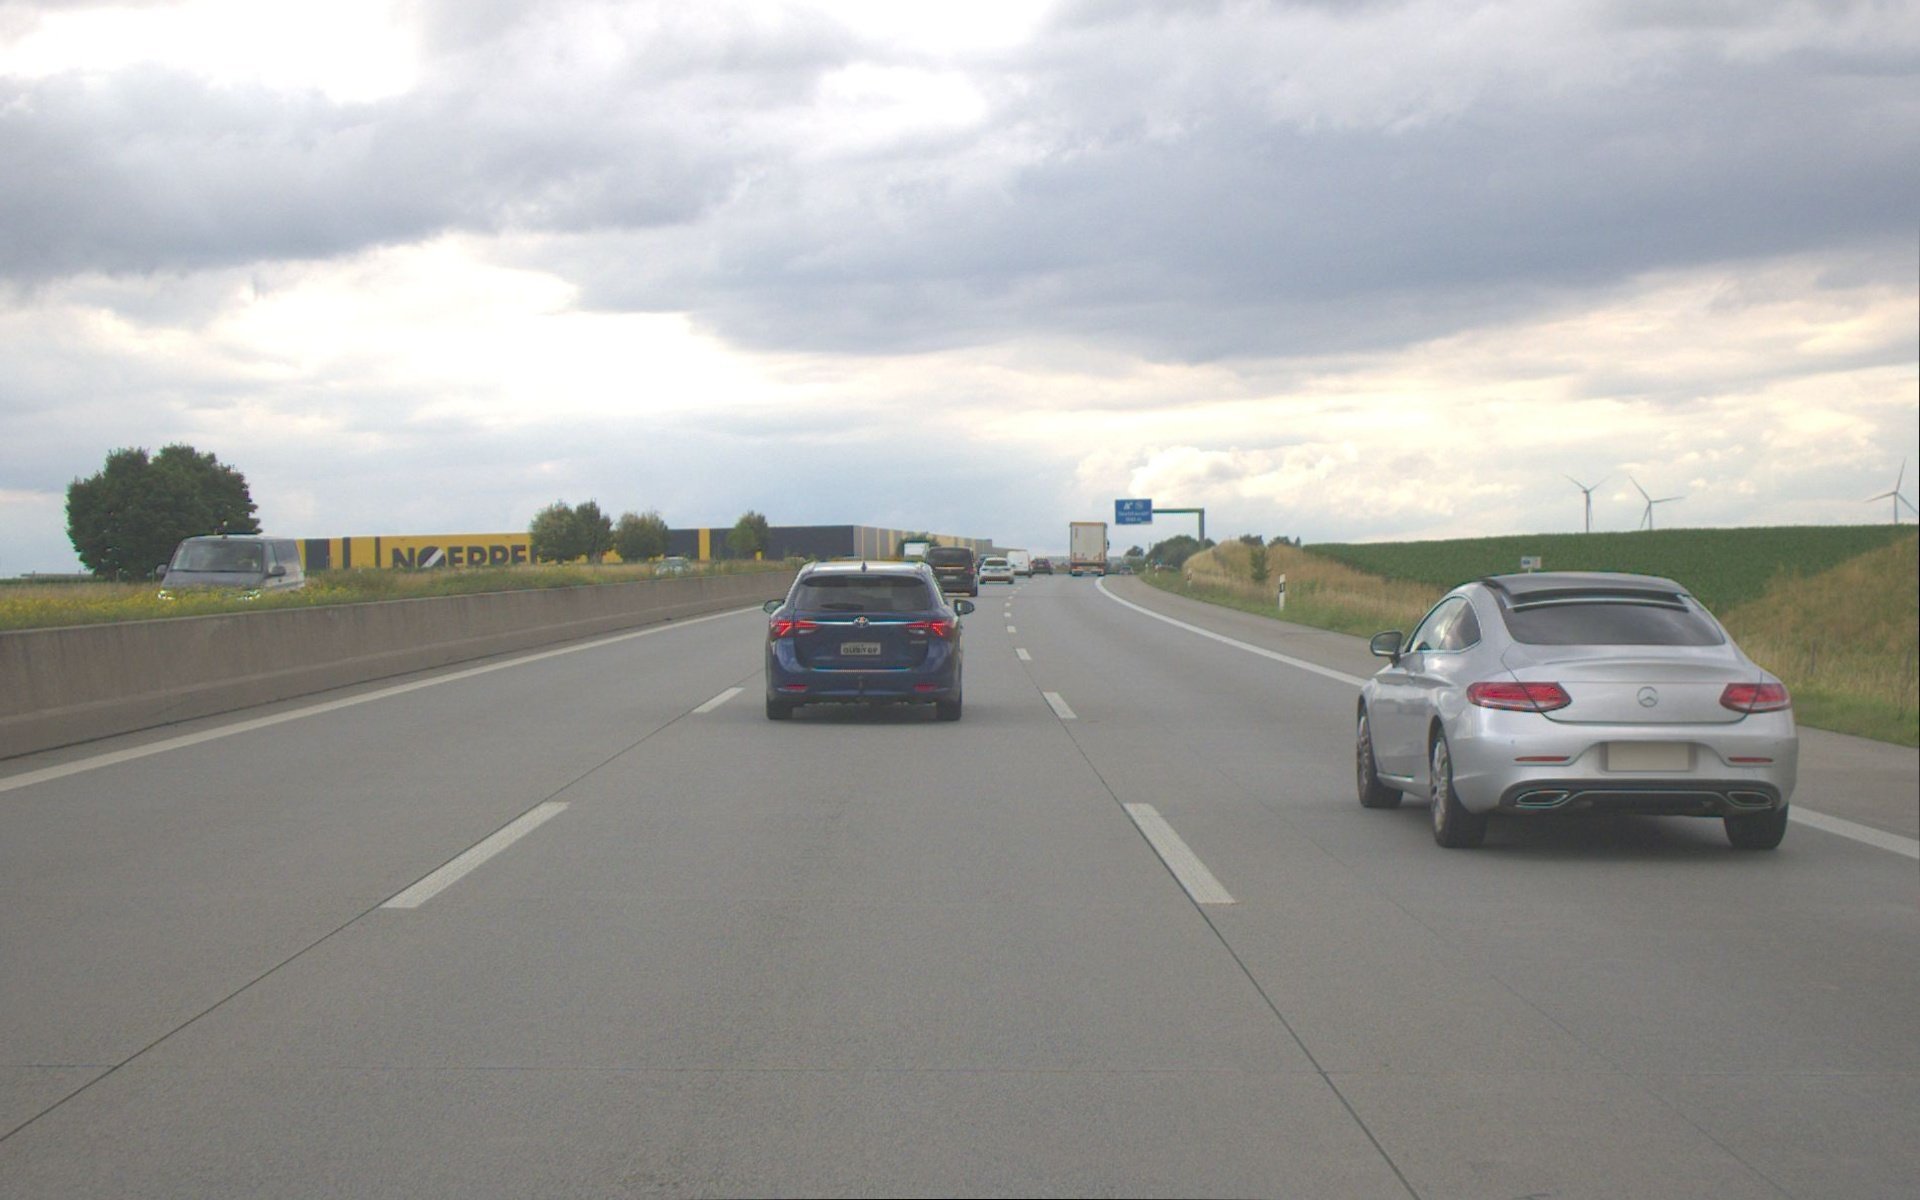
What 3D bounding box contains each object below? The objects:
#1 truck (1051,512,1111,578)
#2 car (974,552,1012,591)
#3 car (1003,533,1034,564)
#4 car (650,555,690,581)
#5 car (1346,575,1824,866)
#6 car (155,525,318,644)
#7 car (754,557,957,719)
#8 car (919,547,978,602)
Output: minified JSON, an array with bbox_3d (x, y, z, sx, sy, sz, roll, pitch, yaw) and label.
[{"bbox_3d":[9.098,-4.110,260.198,3.950,4.740,12.076,1,0,-1],"label":"truck"},{"bbox_3d":[1.770,-1.555,185.665,1.993,2.007,4.000,1,1,1],"label":"car"},{"bbox_3d":[4.014,-3.514,236.080,1.993,2.007,4.000,1,0,-1],"label":"car"},{"bbox_3d":[-17.151,-1.874,203.543,1.897,1.465,4.849,1,0,1],"label":"car"},{"bbox_3d":[3.260,0.568,18.739,1.788,1.399,4.221,0,0,-1],"label":"car"},{"bbox_3d":[-12.983,-0.320,61.955,1.993,2.007,4.630,1,2,0],"label":"car"},{"bbox_3d":[-0.937,0.315,32.077,1.774,1.408,4.000,0,0,-1],"label":"car"},{"bbox_3d":[-0.443,-0.932,127.928,1.993,2.007,4.000,1,0,-2],"label":"car"}]
